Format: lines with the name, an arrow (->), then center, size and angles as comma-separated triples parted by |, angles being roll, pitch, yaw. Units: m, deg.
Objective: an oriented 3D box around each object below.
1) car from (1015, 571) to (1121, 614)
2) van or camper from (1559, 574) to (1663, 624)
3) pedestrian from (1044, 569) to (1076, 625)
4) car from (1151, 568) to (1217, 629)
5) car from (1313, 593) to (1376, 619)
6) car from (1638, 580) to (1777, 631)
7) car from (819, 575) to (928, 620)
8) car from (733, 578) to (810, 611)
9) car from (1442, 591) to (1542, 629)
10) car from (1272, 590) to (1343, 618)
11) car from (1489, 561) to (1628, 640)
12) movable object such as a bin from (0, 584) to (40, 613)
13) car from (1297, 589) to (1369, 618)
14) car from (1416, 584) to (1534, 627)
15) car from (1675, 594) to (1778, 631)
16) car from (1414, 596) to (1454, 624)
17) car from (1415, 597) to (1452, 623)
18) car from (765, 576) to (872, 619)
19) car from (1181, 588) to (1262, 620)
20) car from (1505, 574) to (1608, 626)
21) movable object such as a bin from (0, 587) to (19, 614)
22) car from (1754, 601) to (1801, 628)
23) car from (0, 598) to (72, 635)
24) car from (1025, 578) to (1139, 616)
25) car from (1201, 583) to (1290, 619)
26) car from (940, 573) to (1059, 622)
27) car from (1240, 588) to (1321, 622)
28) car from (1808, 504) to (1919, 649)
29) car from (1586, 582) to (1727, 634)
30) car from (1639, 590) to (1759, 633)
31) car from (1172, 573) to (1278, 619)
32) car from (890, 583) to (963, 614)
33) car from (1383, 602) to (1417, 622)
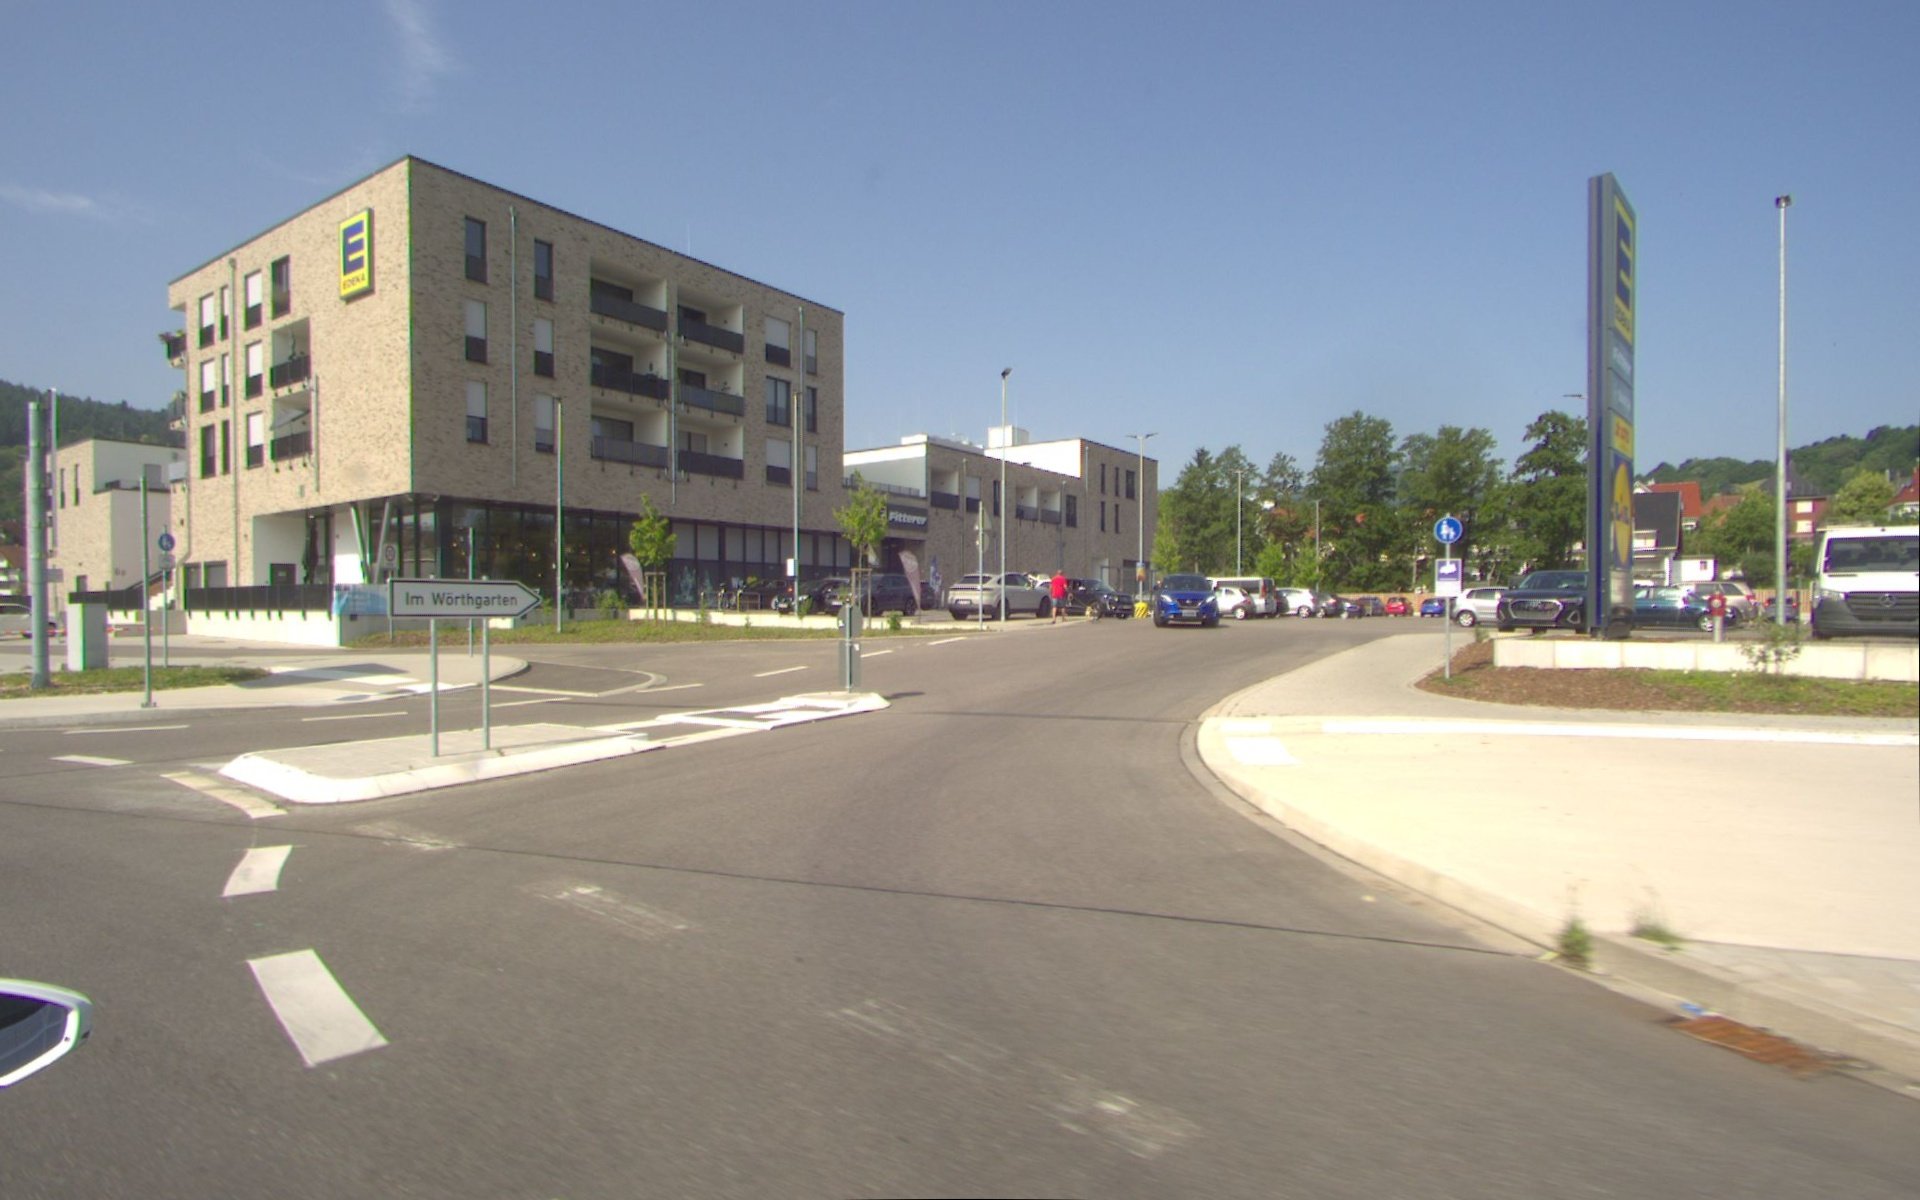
car -> 5.029, -0.342, 46.882 | 4.518, 1.905, 1.988 | 0, -1, 36
van or camper -> 39.905, -0.030, 61.410 | 5.218, 2.883, 2.281 | 0, -2, 37
pedestrian -> 3.256, -0.096, 32.636 | 0.864, 1.763, 0.757 | 2, -2, -8
car -> 6.960, -0.106, 31.286 | 1.852, 1.686, 4.346 | -1, 3, 12
car -> 27.394, 0.432, 71.361 | 3.940, 1.695, 1.782 | 0, -2, 30
car -> 25.554, 0.204, 34.327 | 3.739, 1.594, 1.752 | 0, -3, 38
car -> -3.265, -0.154, 38.543 | 1.832, 1.577, 4.432 | 3, 3, 34
car -> -8.661, -0.246, 45.914 | 3.282, 1.368, 1.485 | 0, -2, 30
car -> 20.578, 0.377, 38.783 | 3.314, 1.392, 1.519 | 1, -1, 30
car -> 20.395, 0.243, 58.768 | 3.752, 1.490, 1.767 | 1, -2, 27
car -> 14.062, 0.091, 23.389 | 1.901, 1.549, 4.822 | 0, -3, 42
movable object such as a bin -> -51.652, -0.067, 54.998 | 1.301, 1.482, 1.298 | 1, -2, 31
car -> 23.549, 0.221, 63.247 | 3.942, 1.695, 1.991 | 0, -2, 32
car -> 18.744, 0.202, 36.482 | 3.587, 1.463, 1.515 | 0, -3, 39
car -> 35.684, 0.586, 46.718 | 3.739, 1.594, 1.752 | 0, -3, 38
car -> 37.331, 0.796, 78.825 | 1.975, 2.039, 3.973 | 0, -3, 39
car -> 37.357, 0.795, 78.897 | 1.746, 1.838, 3.973 | 0, -3, 39
car -> -5.672, -0.150, 40.597 | 1.832, 1.577, 4.432 | 3, 3, 34
car -> 11.882, 0.217, 45.580 | 3.282, 1.368, 1.622 | -1, -2, 29
car -> 32.301, 0.014, 54.273 | 4.587, 2.650, 1.988 | 0, -2, 37
movable object such as a bin -> -54.341, 0.016, 56.375 | 1.301, 1.482, 1.691 | 1, -2, 31
car -> 51.835, 0.931, 63.567 | 1.737, 1.593, 3.771 | 1, -3, 31
car -> -39.886, 0.708, 42.140 | 1.567, 1.515, 3.408 | -2, 0, 20
car -> 4.800, -0.119, 39.590 | 4.172, 1.411, 1.633 | 0, 2, 34
car -> 14.199, 0.065, 49.821 | 3.936, 1.660, 1.868 | 1, -2, 27
car -> 1.481, -0.146, 35.423 | 1.833, 1.577, 4.788 | 3, 3, 36
car -> 17.502, 0.277, 54.703 | 3.936, 1.763, 1.929 | 1, -2, 27
car -> 18.221, -0.300, 19.889 | 2.036, 2.413, 6.049 | 0, -3, 40
car -> 22.955, 0.272, 33.051 | 3.739, 1.594, 1.752 | 0, -3, 38
car -> 29.108, 0.455, 39.522 | 3.739, 1.594, 1.752 | 0, -3, 38
car -> 12.695, -0.182, 47.950 | 4.573, 2.039, 1.994 | 1, -2, 27
car -> -1.838, -0.109, 55.820 | 1.832, 1.577, 4.432 | 3, 3, 34
car -> 35.707, 0.958, 81.255 | 1.626, 1.448, 3.599 | 0, -3, 39
